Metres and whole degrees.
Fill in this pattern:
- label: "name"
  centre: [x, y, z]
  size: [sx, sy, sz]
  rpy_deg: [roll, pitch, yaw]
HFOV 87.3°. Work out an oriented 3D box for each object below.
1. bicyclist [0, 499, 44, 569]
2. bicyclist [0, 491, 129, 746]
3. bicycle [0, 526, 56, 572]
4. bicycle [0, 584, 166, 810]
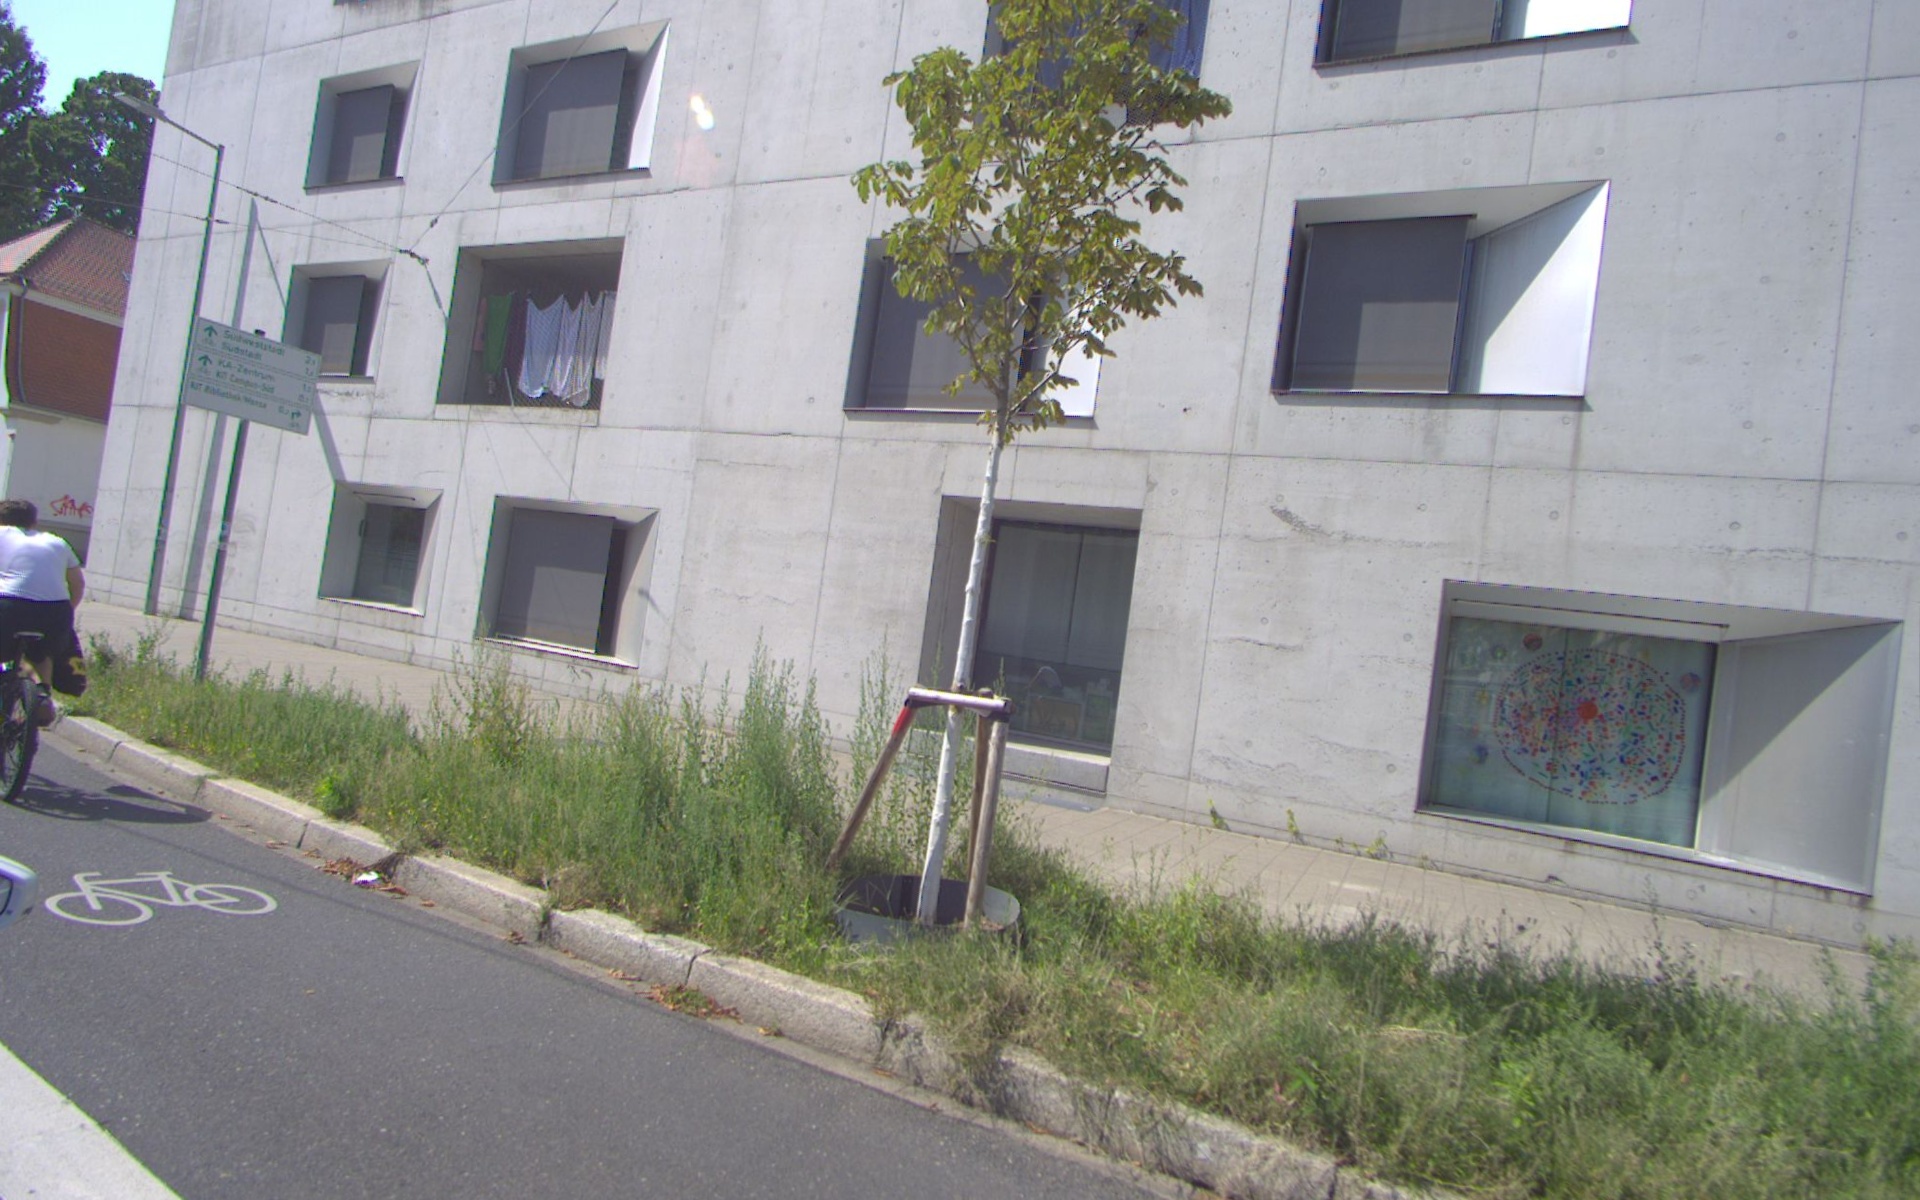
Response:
- label: "bicyclist"
  centre: [-23.868, -1.665, 25.269]
  size: [0.617, 1.616, 0.993]
  rpy_deg: [8, -2, -4]
- label: "bicyclist"
  centre: [-5.727, 0.076, 5.974]
  size: [0.945, 1.427, 0.747]
  rpy_deg: [7, -2, 26]
- label: "bicycle"
  centre: [-23.933, -1.303, 25.424]
  size: [0.605, 1.011, 1.711]
  rpy_deg: [8, -3, -5]
- label: "bicycle"
  centre: [-5.821, 0.478, 5.979]
  size: [2.193, 1.060, 0.742]
  rpy_deg: [7, -2, 26]
